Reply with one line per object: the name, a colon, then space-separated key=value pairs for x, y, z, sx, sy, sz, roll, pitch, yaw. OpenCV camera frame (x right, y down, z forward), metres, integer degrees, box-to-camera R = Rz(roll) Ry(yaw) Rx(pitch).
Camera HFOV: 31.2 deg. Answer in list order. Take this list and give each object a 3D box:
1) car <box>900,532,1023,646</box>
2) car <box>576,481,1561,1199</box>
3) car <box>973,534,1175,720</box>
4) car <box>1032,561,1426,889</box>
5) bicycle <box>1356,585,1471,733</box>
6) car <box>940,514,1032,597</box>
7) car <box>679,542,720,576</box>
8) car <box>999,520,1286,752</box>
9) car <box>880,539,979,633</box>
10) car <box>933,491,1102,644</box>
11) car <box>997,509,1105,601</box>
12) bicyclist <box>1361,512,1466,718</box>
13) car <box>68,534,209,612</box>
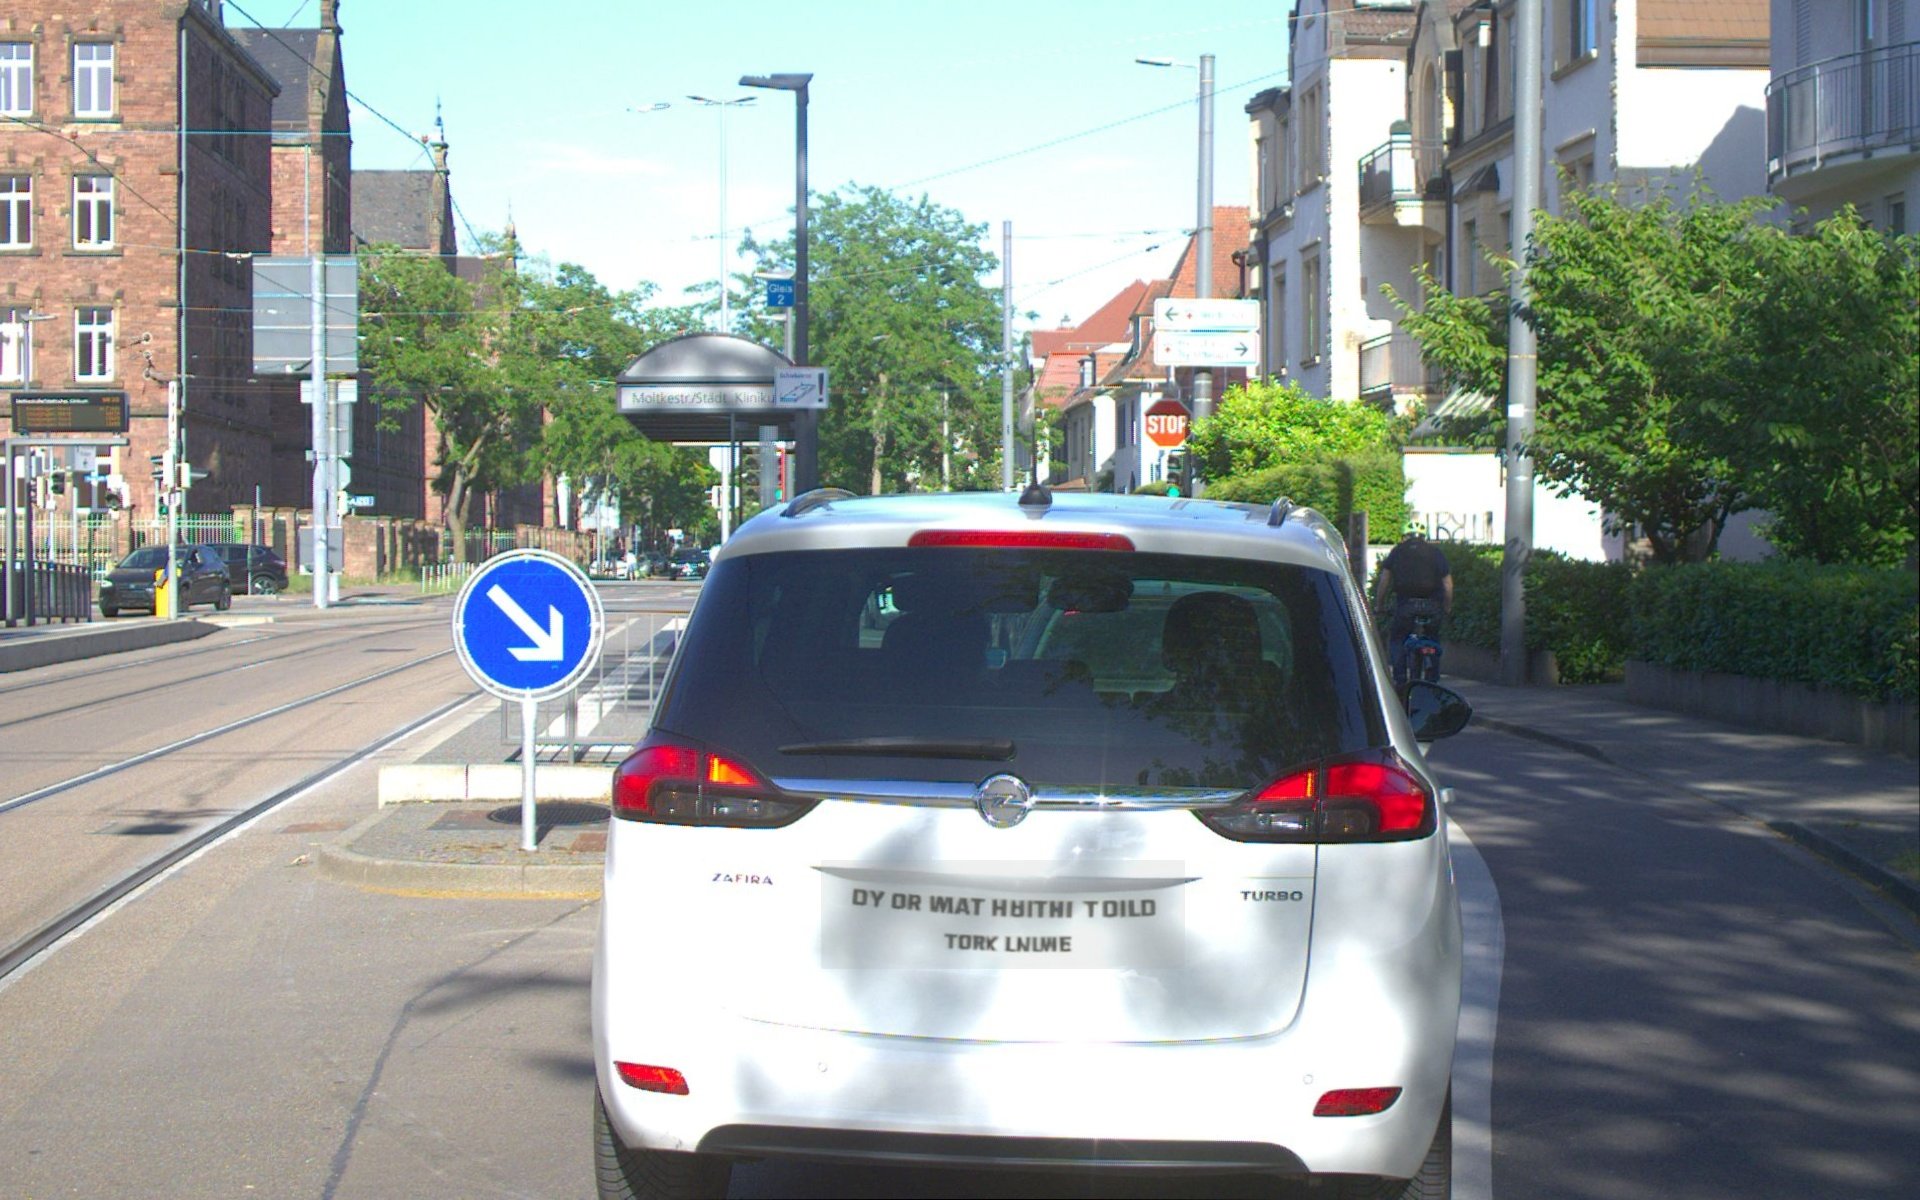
car: x=0.009 y=-0.181 z=51.988 sx=1.776 sy=1.626 sz=3.881 roll=1 pitch=1 yaw=0
car: x=0.124 y=0.588 z=8.413 sx=1.834 sy=1.636 sz=3.919 roll=1 pitch=1 yaw=-2
car: x=1.032 y=0.217 z=32.457 sx=1.776 sy=1.626 sz=3.880 roll=1 pitch=1 yaw=1
car: x=1.238 y=0.535 z=17.215 sx=1.586 sy=1.415 sz=3.900 roll=0 pitch=1 yaw=-1
bicycle: x=3.666 y=0.461 z=27.877 sx=0.685 sy=1.153 sz=1.619 roll=1 pitch=0 yaw=-1
car: x=0.506 y=-0.912 z=70.808 sx=1.776 sy=1.626 sz=3.881 roll=1 pitch=1 yaw=-1
car: x=-13.145 y=-2.081 z=173.668 sx=1.906 sy=1.671 sz=4.358 roll=1 pitch=1 yaw=-3
car: x=1.314 y=0.235 z=26.315 sx=1.776 sy=1.626 sz=3.881 roll=1 pitch=1 yaw=-3
car: x=-0.594 y=-0.281 z=64.431 sx=1.776 sy=1.687 sz=3.881 roll=1 pitch=1 yaw=-1
car: x=0.603 y=-0.368 z=39.109 sx=1.776 sy=1.626 sz=3.881 roll=1 pitch=1 yaw=-1
car: x=1.645 y=-0.819 z=63.015 sx=1.776 sy=1.626 sz=3.881 roll=1 pitch=1 yaw=-1
bicyclist: x=3.671 y=0.112 z=27.867 sx=0.685 sy=1.629 sz=1.015 roll=1 pitch=0 yaw=-1
car: x=-17.020 y=-0.559 z=71.407 sx=1.993 sy=1.541 sz=4.000 roll=1 pitch=1 yaw=-1
